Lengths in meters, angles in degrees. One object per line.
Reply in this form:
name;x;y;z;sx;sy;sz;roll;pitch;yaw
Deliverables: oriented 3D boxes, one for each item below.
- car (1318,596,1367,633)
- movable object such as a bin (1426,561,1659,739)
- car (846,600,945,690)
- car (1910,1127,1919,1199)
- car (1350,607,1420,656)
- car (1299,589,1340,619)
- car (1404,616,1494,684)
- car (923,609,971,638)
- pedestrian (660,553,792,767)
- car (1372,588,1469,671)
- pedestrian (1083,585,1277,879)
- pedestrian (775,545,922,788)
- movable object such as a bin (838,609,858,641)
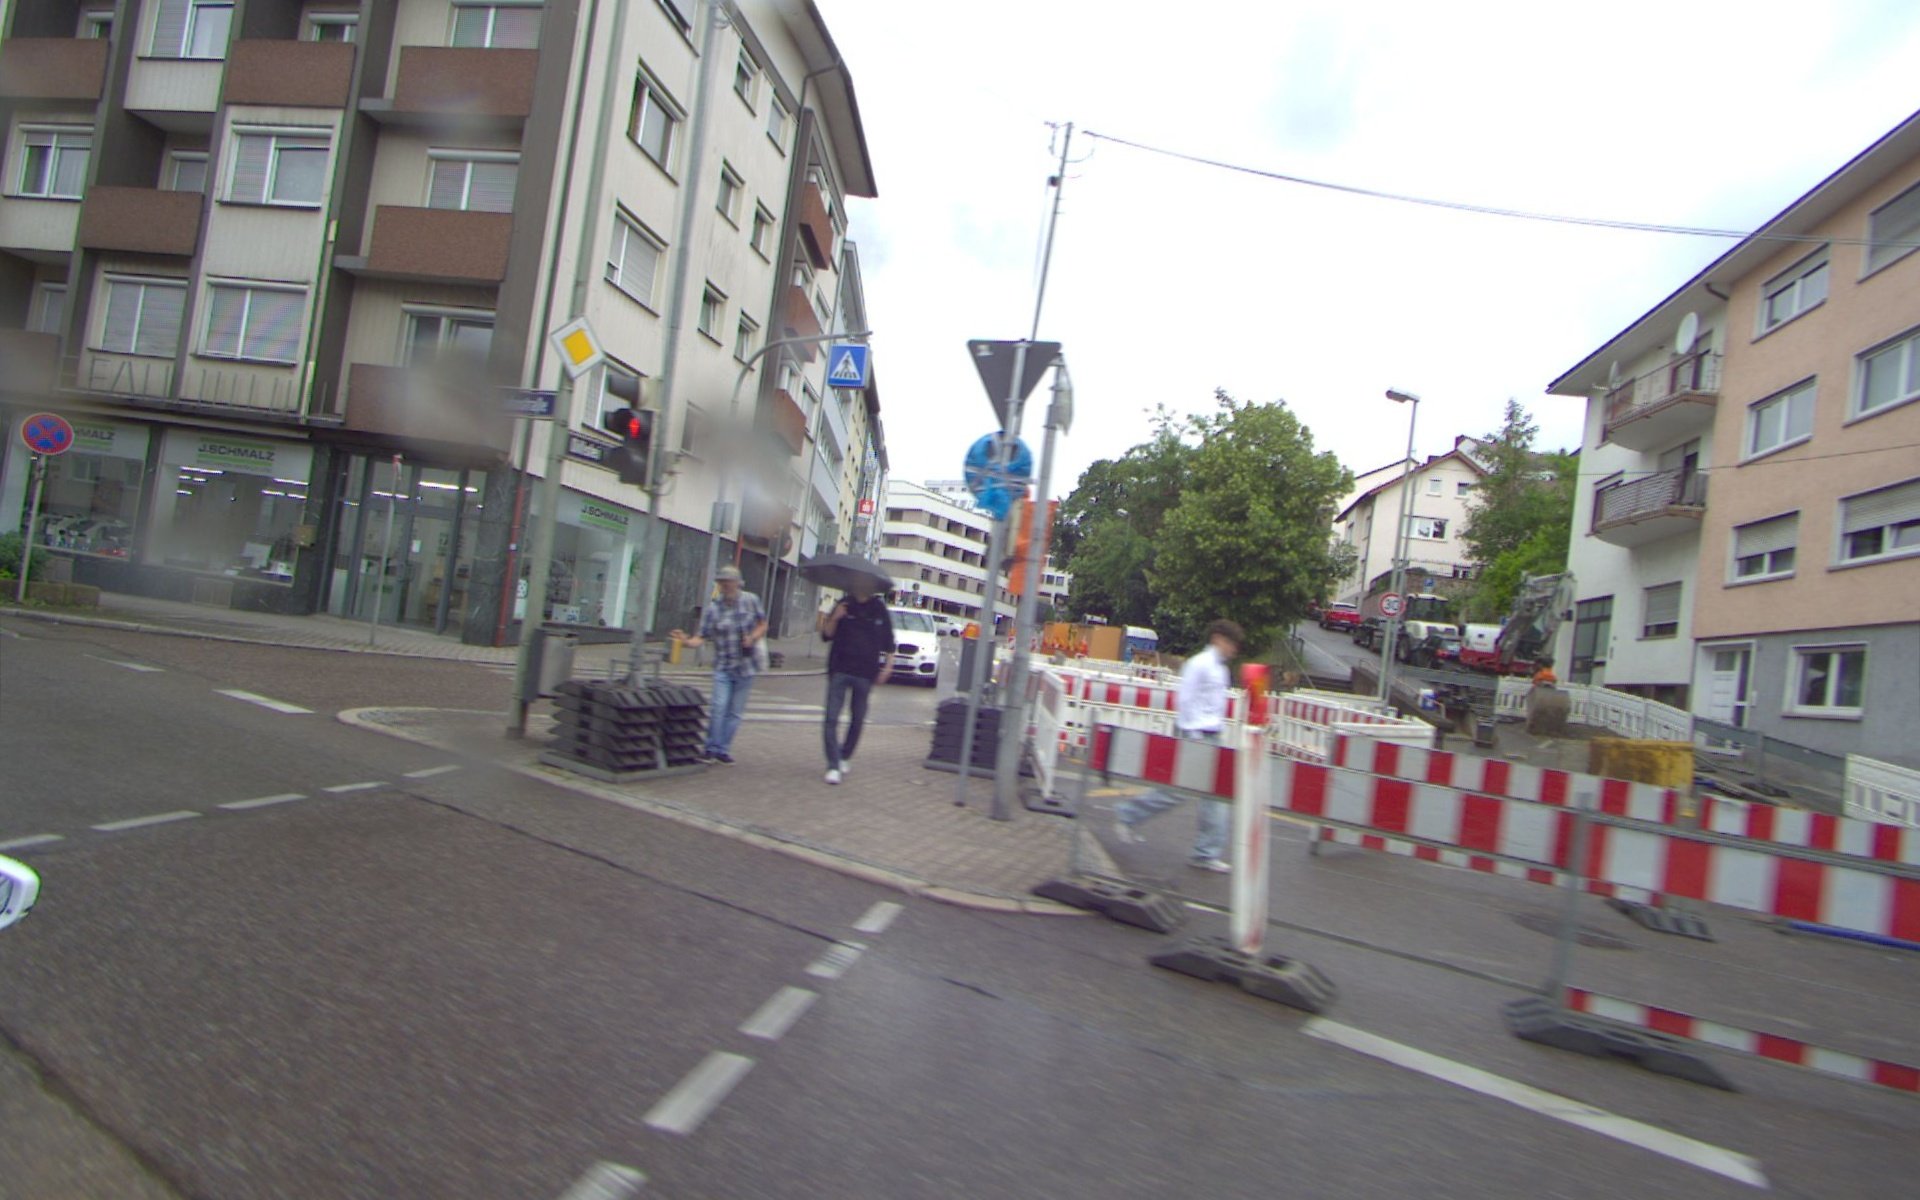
car;21.821;0.806;57.545;1.855;1.588;4.211;8;5;12
movable object such as a bin;14.604;1.040;25.938;2.690;3.687;6.530;8;3;10
car;-1.450;1.005;24.199;1.963;1.741;4.797;6;-1;-1
car;3.622;1.268;0.723;3.933;1.420;1.679;7;0;31
car;19.338;1.380;45.970;1.855;1.588;4.537;8;5;10
car;24.449;0.243;68.532;1.855;1.588;4.737;8;5;12
car;16.768;1.652;34.671;1.730;1.749;3.712;8;5;12
car;-1.180;2.204;94.149;4.018;2.034;2.005;8;-4;7
pedestrian;-2.021;0.506;8.632;0.785;1.708;0.816;6;-1;-27
car;18.415;1.070;40.495;1.855;2.654;5.088;8;5;8
pedestrian;1.572;0.898;7.238;0.980;1.902;0.654;6;0;44
pedestrian;-0.974;0.559;8.606;1.014;1.883;0.918;6;-1;-10
movable object such as a bin;-4.072;0.918;36.568;0.521;1.058;0.540;8;-3;1
